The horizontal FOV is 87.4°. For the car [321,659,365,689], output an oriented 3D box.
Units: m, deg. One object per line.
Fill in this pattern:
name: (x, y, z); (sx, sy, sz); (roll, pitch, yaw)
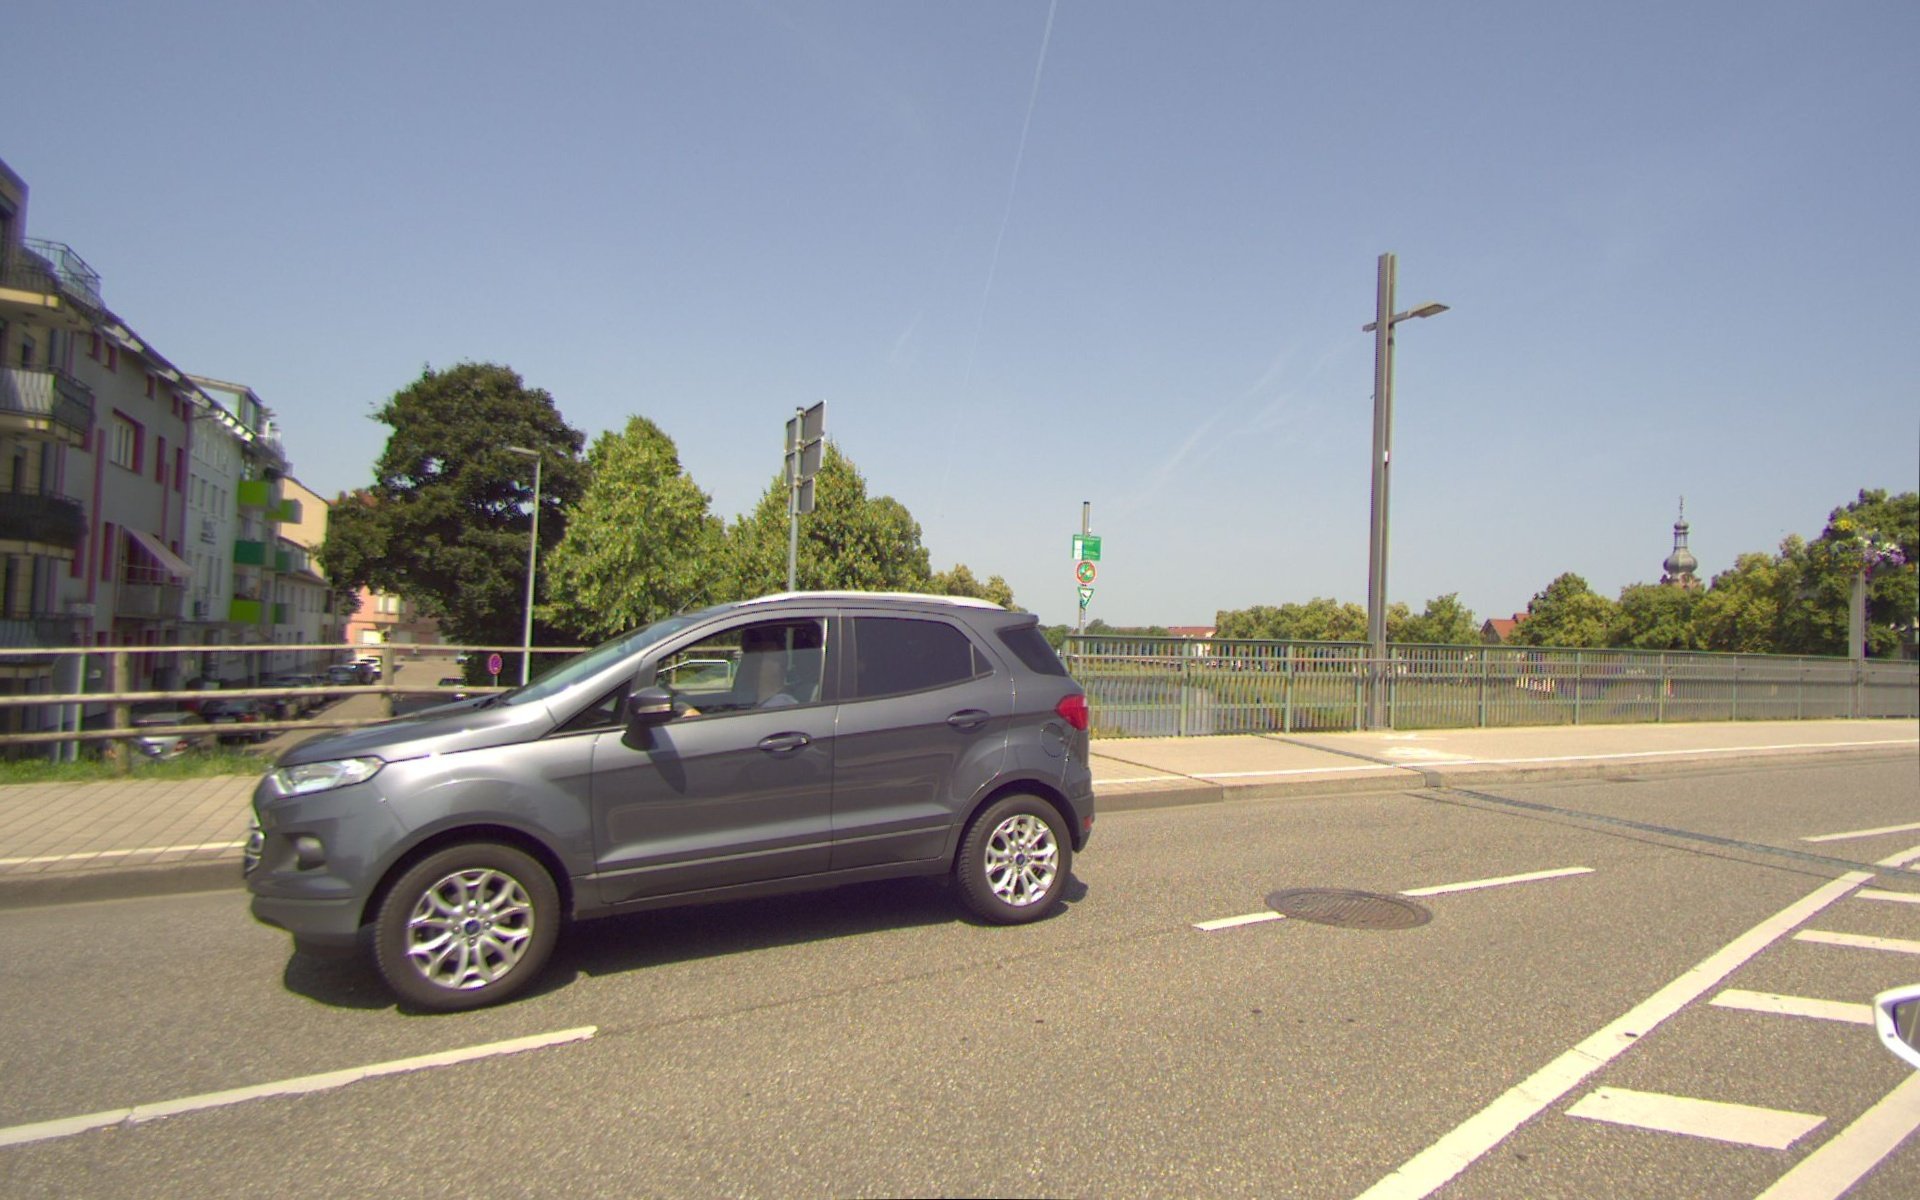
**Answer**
car: (-37.717, 4.516, 61.455); (1.975, 1.671, 3.971); (3, -2, -28)

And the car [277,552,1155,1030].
car: (-1.057, 0.775, 5.214); (3.873, 1.662, 1.730); (3, -3, -29)

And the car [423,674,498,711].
car: (-24.286, 4.485, 49.004); (1.963, 1.670, 3.997); (1, -3, -7)

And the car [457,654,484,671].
car: (-53.074, 6.714, 108.917); (1.751, 1.671, 3.989); (2, -2, -14)

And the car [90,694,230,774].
car: (-19.837, 3.264, 25.107); (1.975, 1.670, 3.972); (3, -4, -28)

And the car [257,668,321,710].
car: (-30.714, 4.046, 46.101); (1.975, 1.671, 3.971); (3, -2, -28)

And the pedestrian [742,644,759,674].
pedestrian: (-14.941, 4.211, 71.627); (0.873, 2.040, 0.720); (4, -1, -30)

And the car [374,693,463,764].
car: (-15.036, 3.507, 28.046); (1.974, 1.670, 3.974); (2, -4, -27)

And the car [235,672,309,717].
car: (-28.045, 3.829, 41.069); (1.975, 1.670, 3.972); (3, -4, -28)

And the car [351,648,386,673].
car: (-43.753, 4.439, 74.333); (1.975, 1.671, 3.971); (3, -2, -28)

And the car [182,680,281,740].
car: (-23.245, 3.469, 32.217); (1.975, 1.670, 3.972); (3, -4, -28)
